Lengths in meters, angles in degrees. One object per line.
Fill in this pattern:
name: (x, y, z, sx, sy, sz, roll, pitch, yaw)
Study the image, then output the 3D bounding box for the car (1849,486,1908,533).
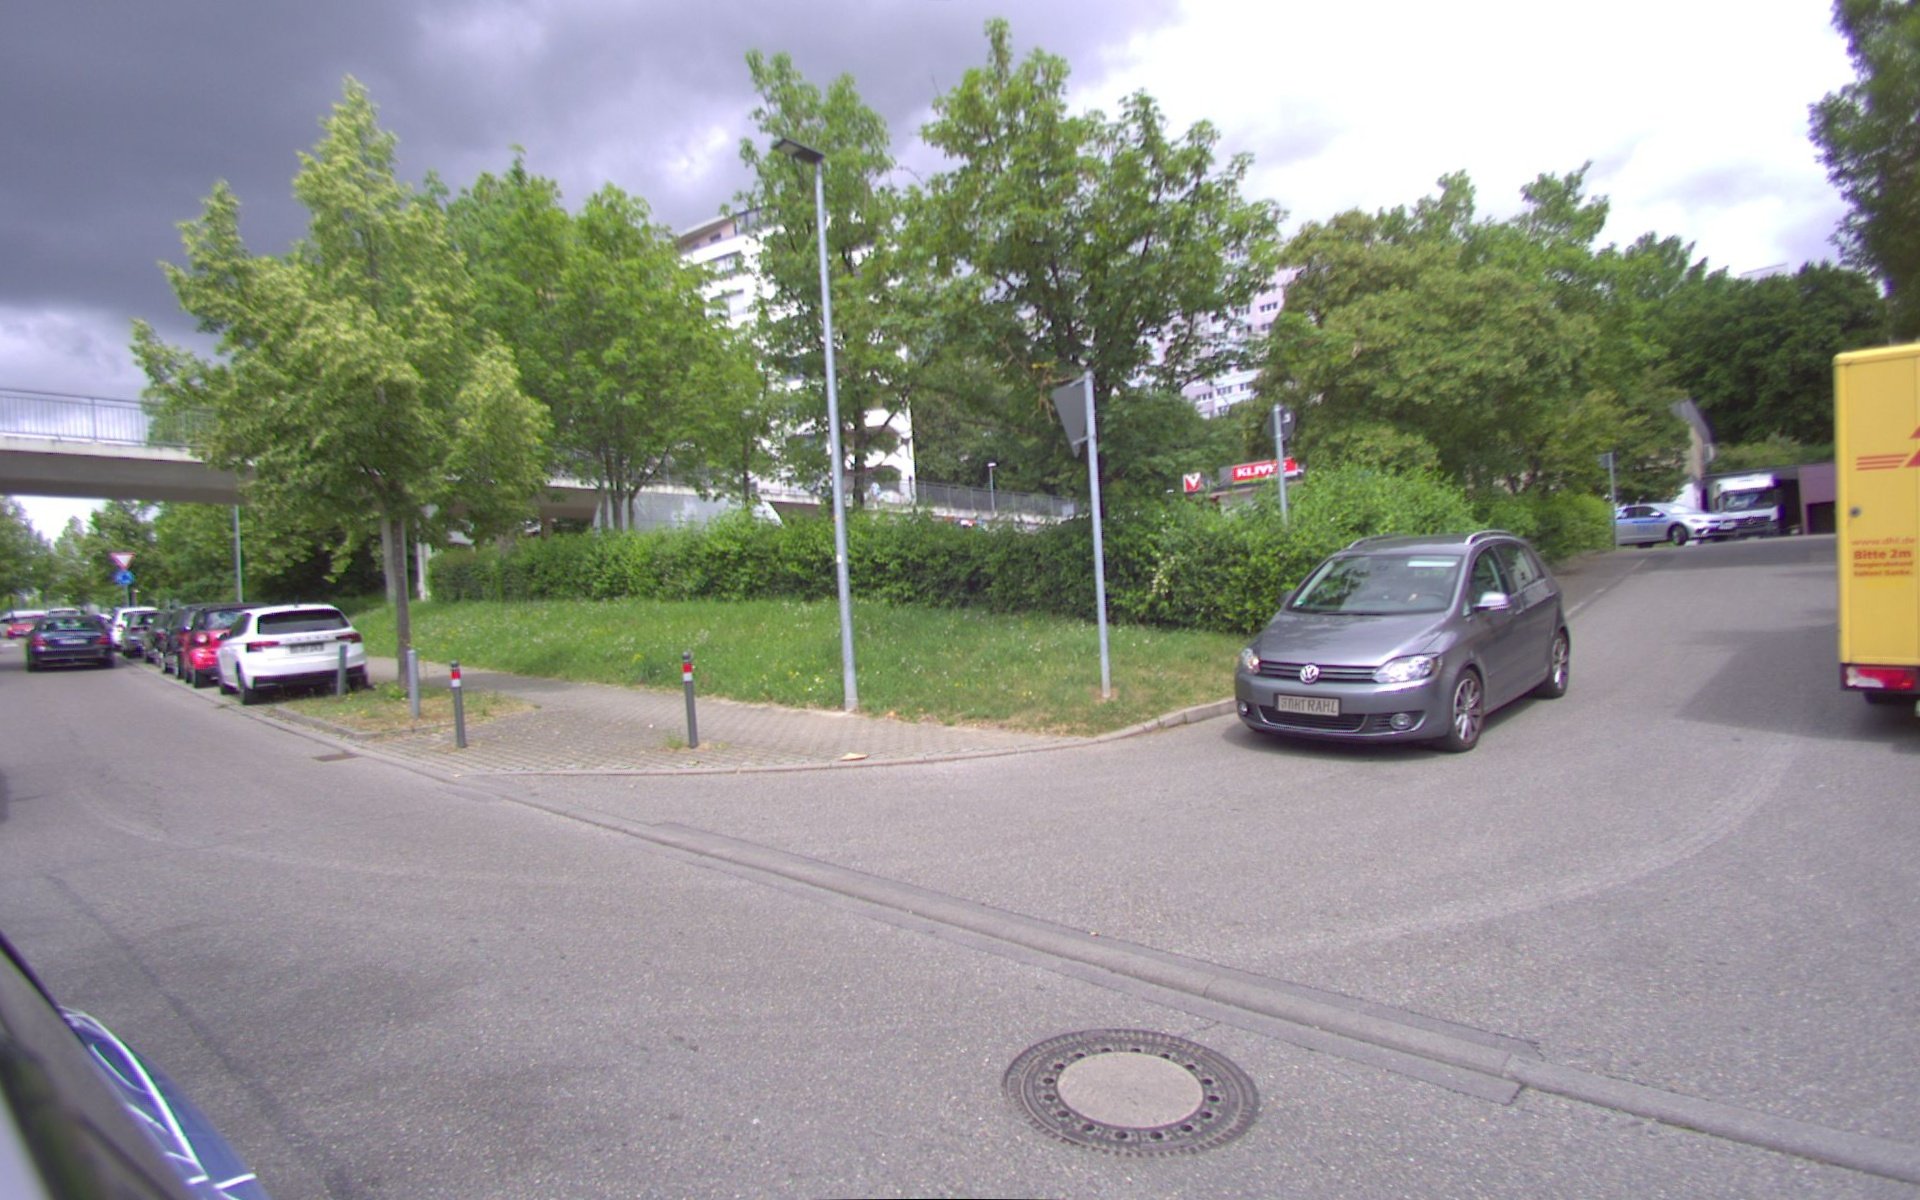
car: (43.521, -4.248, 48.032, 1.793, 1.839, 3.948, -2, 0, 39)

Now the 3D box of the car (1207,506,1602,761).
car: (4.008, 0.097, 8.746, 1.759, 1.674, 4.061, -1, 3, 45)

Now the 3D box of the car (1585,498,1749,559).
car: (22.132, -2.207, 31.865, 1.631, 1.674, 4.013, -4, 2, -18)

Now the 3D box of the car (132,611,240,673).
car: (-21.503, 1.093, 28.042, 1.788, 1.491, 4.489, -4, 2, -44)

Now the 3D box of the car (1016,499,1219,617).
car: (3.155, -0.864, 19.778, 2.000, 1.872, 3.947, -1, 6, 42)

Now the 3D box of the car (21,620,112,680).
car: (-23.990, 1.289, 27.237, 1.730, 1.430, 4.374, -1, -1, -41)

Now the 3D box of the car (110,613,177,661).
car: (-29.619, 1.289, 36.734, 1.785, 1.582, 3.729, -1, 0, -39)

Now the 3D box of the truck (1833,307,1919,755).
truck: (8.745, -0.809, 8.298, 2.232, 2.828, 6.484, -2, 6, 42)

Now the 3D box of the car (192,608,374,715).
car: (-11.370, 0.922, 16.883, 1.787, 1.415, 4.052, -6, 4, -43)

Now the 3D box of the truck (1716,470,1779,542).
truck: (44.601, -5.271, 57.262, 2.577, 3.720, 7.241, -1, 3, 39)

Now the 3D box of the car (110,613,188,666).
car: (-26.184, 1.220, 32.685, 1.786, 1.466, 3.868, -5, 3, -39)

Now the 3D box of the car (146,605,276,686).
car: (-17.306, 0.997, 23.319, 1.788, 1.596, 3.988, -5, 2, -44)

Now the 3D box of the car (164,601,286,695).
car: (-14.638, 0.900, 20.119, 1.575, 1.596, 2.688, -7, 4, -42)

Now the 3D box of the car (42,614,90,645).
car: (-46.308, 1.496, 52.413, 1.786, 1.582, 3.727, 1, -1, -42)
